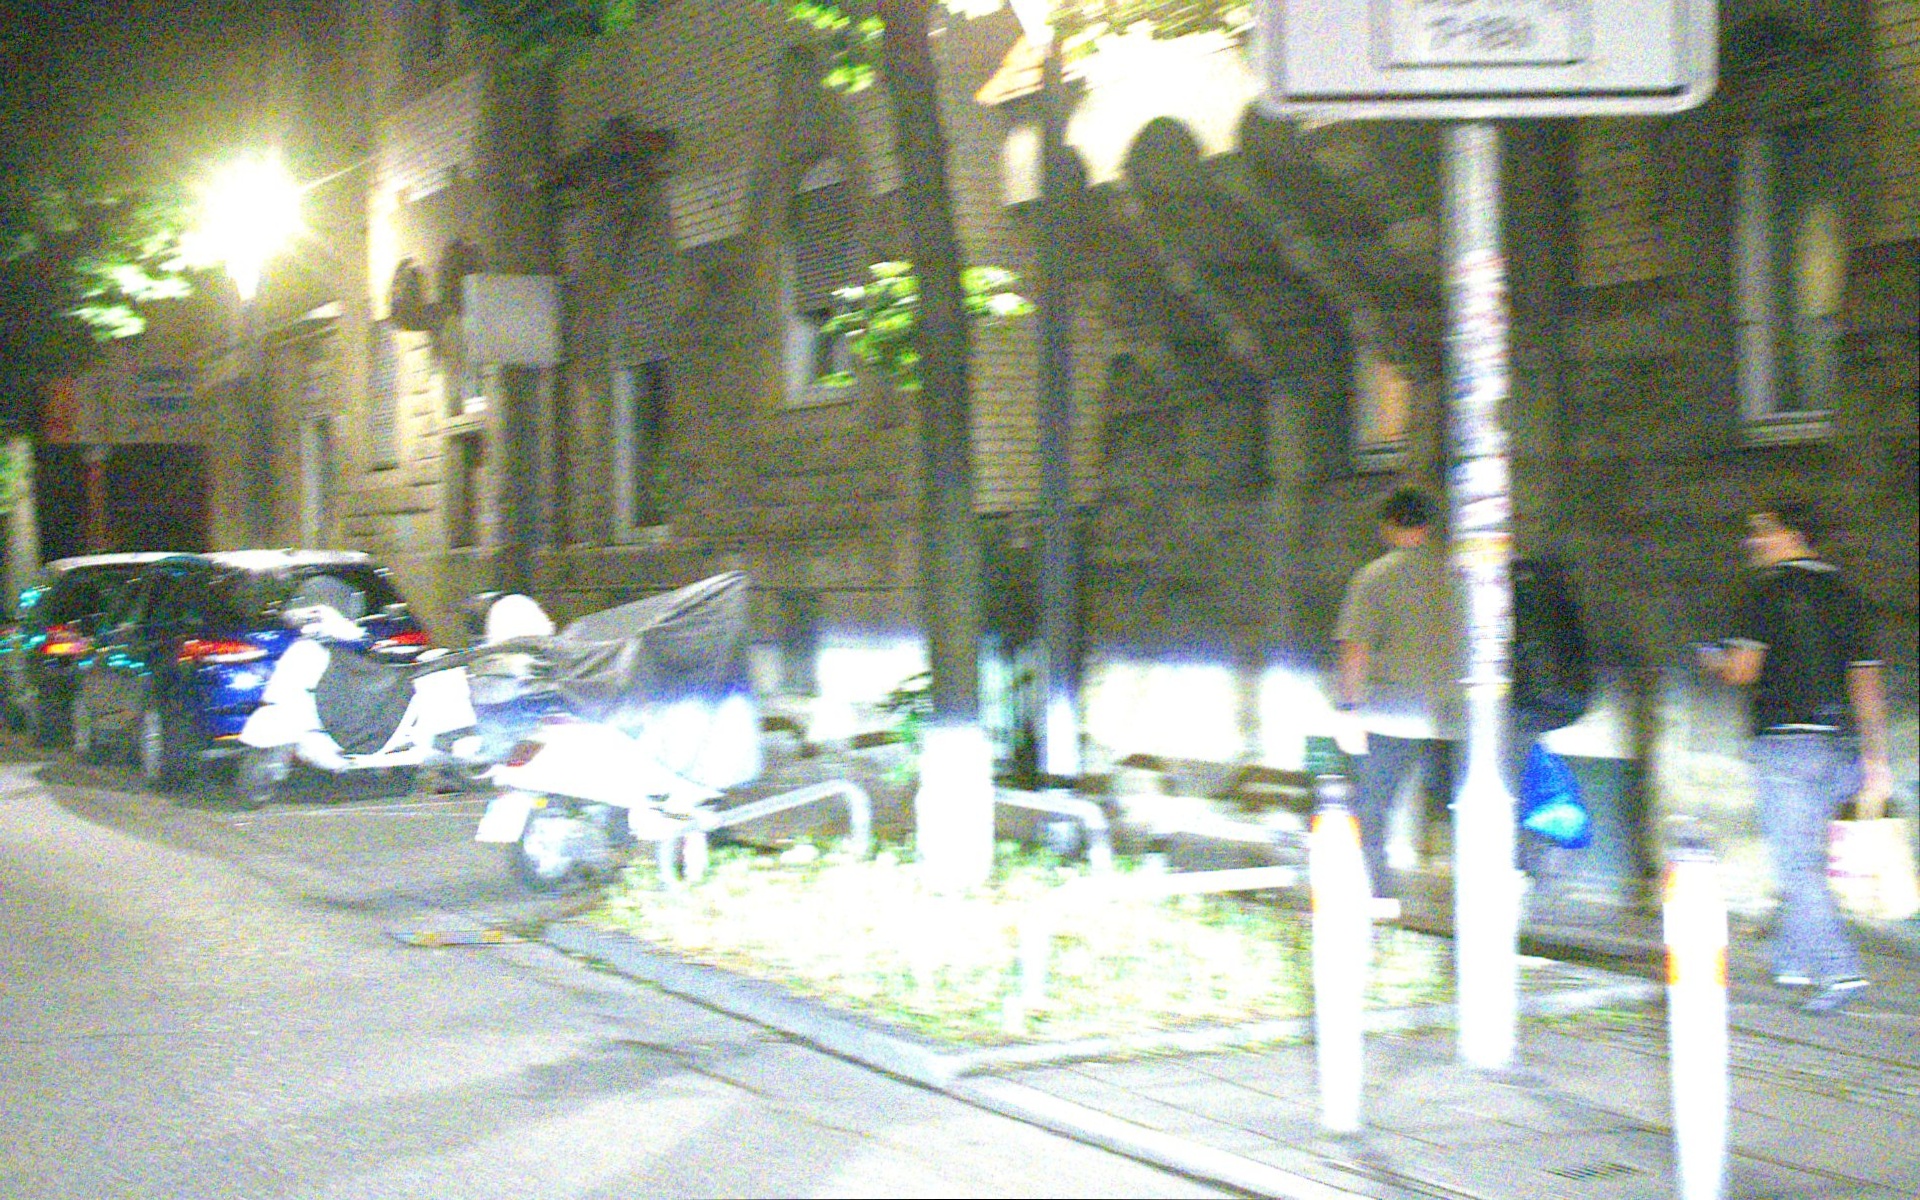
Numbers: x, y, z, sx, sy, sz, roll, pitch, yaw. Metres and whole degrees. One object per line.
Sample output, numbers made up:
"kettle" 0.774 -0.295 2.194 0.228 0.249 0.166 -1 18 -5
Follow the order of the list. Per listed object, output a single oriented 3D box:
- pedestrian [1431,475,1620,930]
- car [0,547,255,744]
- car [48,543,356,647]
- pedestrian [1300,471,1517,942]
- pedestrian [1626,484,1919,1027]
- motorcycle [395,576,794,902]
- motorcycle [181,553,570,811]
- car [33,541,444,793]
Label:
"pedestrian" 2.168 0.378 13.211 0.476 1.703 0.571 -1 1 -23
"car" -6.912 0.309 27.753 1.736 1.449 4.001 -1 1 -21
"car" -10.923 -0.076 49.540 4.013 1.417 1.852 -1 0 -25
"pedestrian" 1.669 0.377 12.847 0.506 1.703 0.705 -1 1 -23
"pedestrian" 2.711 0.462 10.875 0.807 1.625 0.966 0 0 -19
"motorcycle" -1.614 0.582 15.530 0.762 1.348 1.941 0 1 31
"motorcycle" -3.477 0.455 20.508 2.053 1.401 0.924 -3 2 -32
"car" -4.905 0.374 22.898 1.732 1.496 4.468 -1 1 -24
